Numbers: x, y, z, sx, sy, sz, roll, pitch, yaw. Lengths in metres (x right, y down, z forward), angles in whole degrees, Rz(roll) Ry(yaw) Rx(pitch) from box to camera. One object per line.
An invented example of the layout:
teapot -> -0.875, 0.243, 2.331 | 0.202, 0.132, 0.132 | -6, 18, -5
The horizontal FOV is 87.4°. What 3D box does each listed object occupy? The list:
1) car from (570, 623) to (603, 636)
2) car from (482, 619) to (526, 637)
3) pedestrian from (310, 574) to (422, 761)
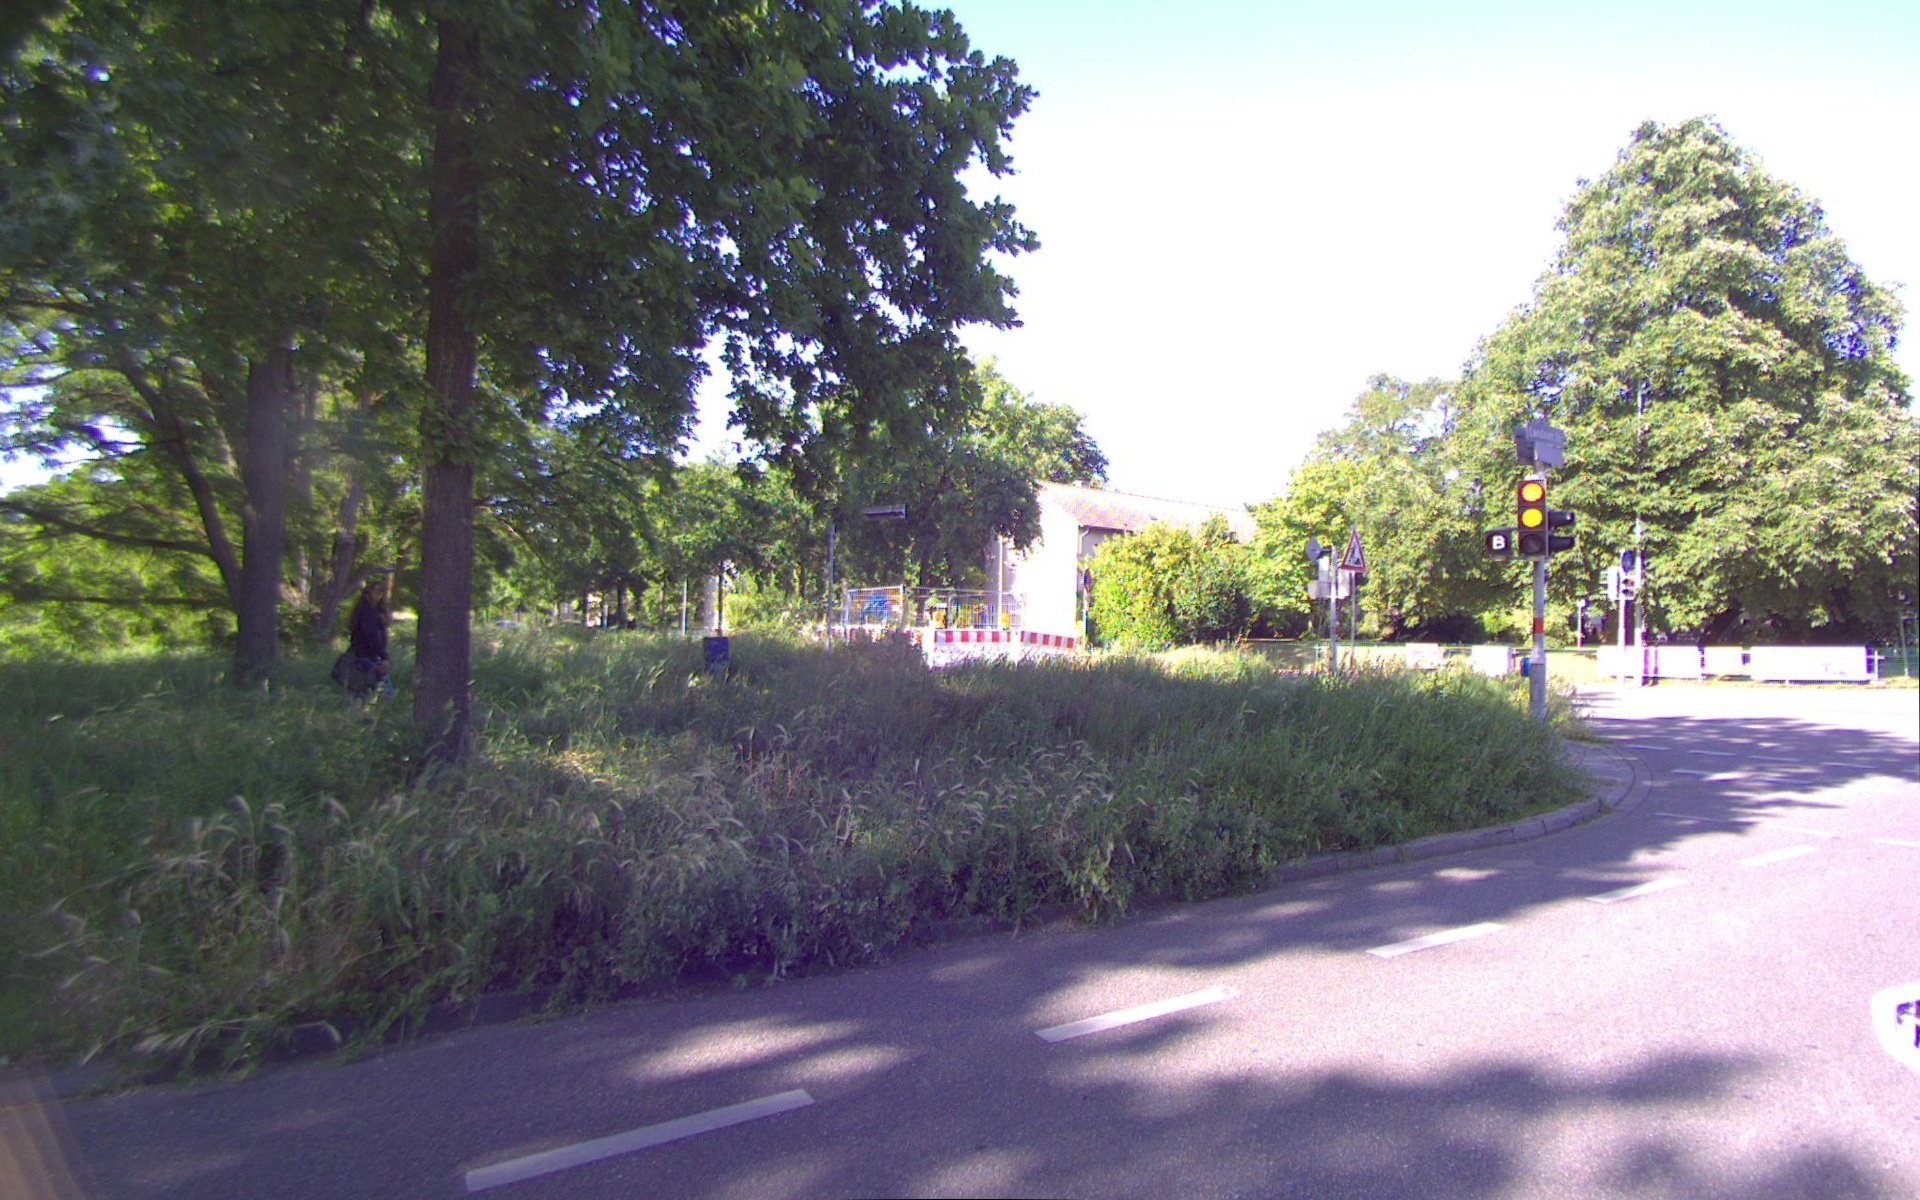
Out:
car -> -40.903, 3.248, 109.990 | 1.983, 1.449, 4.690 | 2, -3, -39
car -> -47.388, 2.881, 104.482 | 3.939, 1.673, 1.991 | 2, 0, -20
pedestrian -> -5.763, 0.624, 9.795 | 0.880, 1.710, 0.909 | 1, 0, -29
